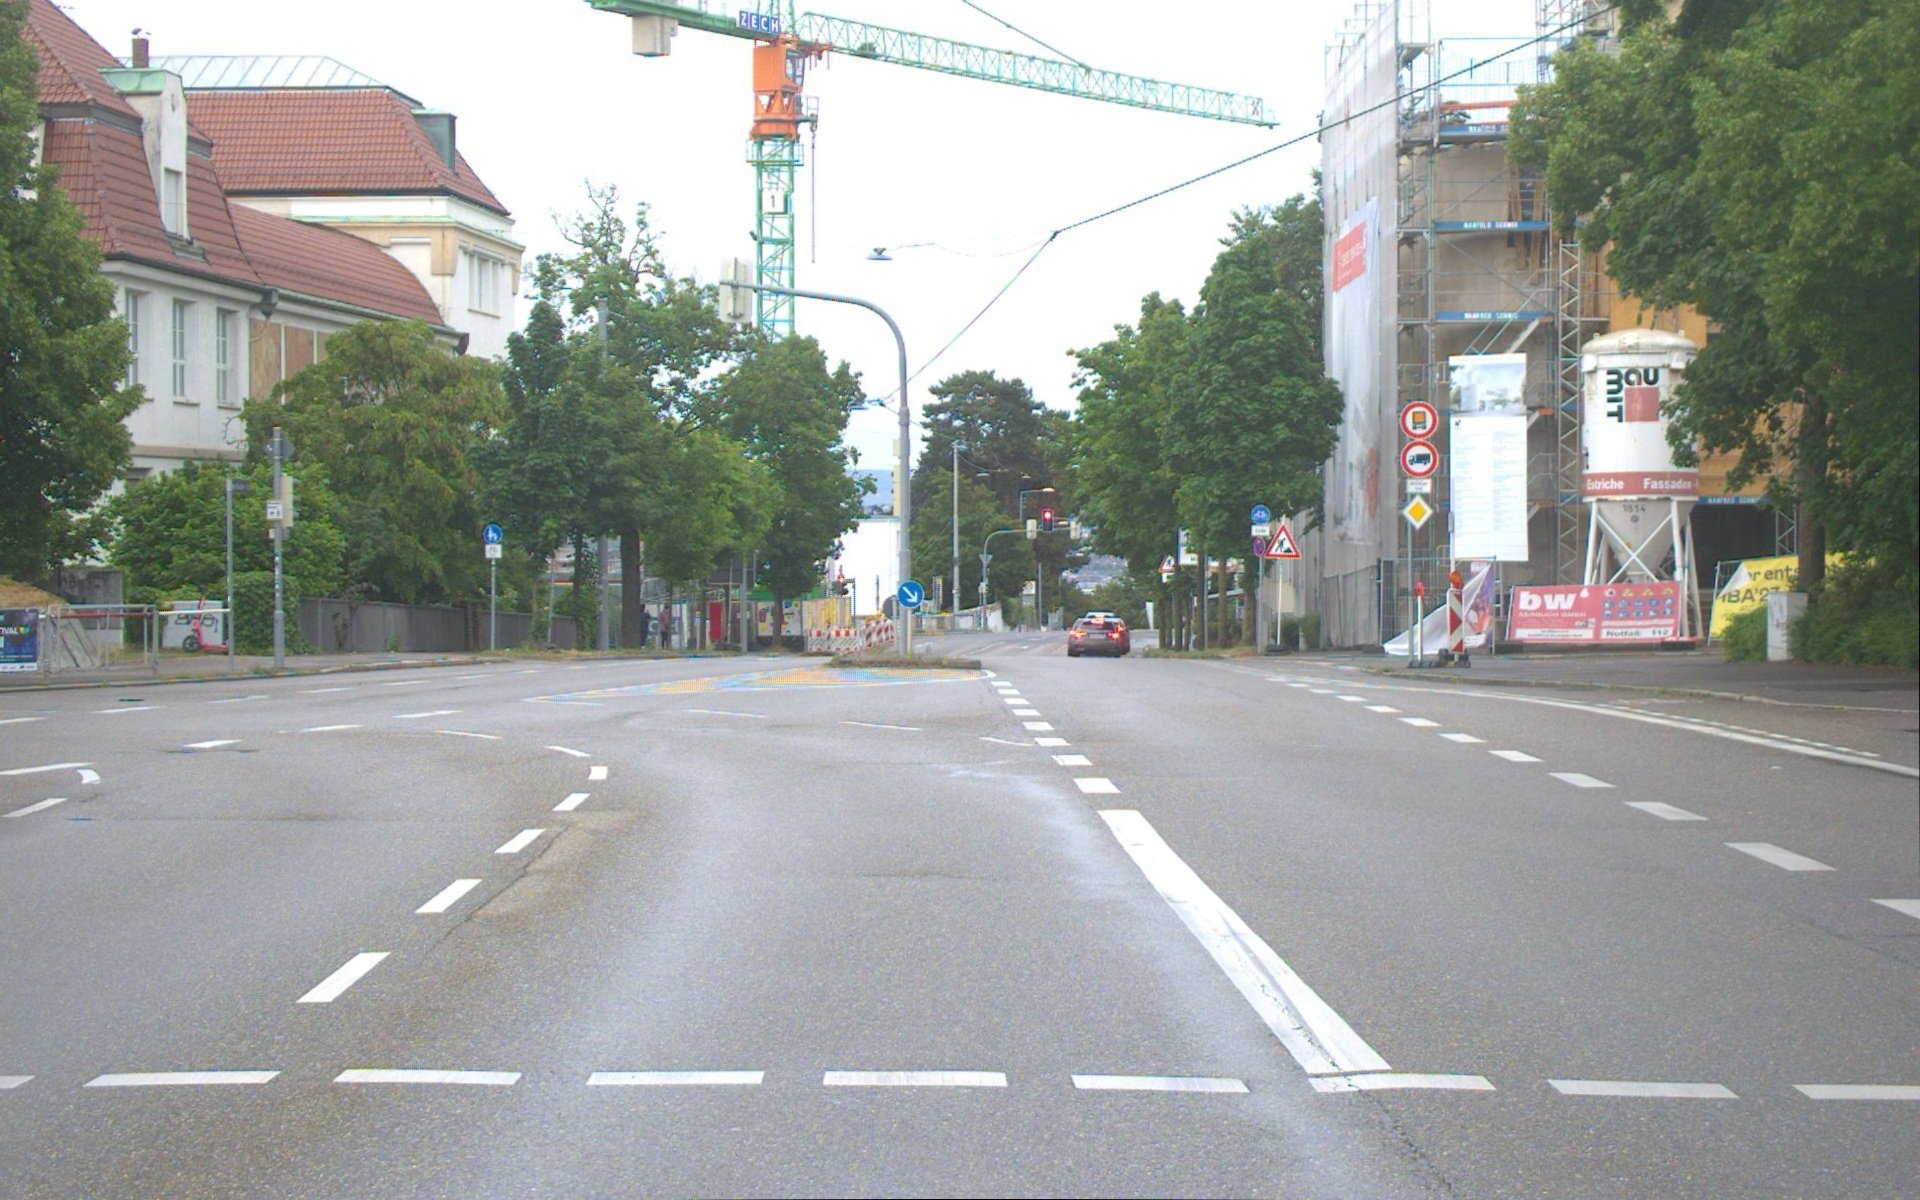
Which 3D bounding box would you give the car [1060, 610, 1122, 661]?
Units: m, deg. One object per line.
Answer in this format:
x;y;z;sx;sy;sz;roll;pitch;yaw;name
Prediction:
4.729;1.281;124.793;1.993;1.744;4.000;-1;1;-1;car

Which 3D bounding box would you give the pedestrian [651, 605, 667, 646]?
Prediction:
-10.106;0.856;115.471;0.474;1.391;0.411;0;1;-1;pedestrian

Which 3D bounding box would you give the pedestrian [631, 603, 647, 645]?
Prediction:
-10.784;0.811;115.449;0.474;1.391;0.411;-1;1;-1;pedestrian

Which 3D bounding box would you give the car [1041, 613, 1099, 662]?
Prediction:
4.211;1.432;131.759;1.993;1.744;4.000;-1;1;-1;car

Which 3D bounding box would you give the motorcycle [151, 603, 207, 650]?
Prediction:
-14.749;0.498;64.922;0.849;0.874;0.877;1;0;-1;motorcycle

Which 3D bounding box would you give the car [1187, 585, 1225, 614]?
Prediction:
15.692;-0.037;219.338;1.994;1.744;3.998;-1;1;11;car
